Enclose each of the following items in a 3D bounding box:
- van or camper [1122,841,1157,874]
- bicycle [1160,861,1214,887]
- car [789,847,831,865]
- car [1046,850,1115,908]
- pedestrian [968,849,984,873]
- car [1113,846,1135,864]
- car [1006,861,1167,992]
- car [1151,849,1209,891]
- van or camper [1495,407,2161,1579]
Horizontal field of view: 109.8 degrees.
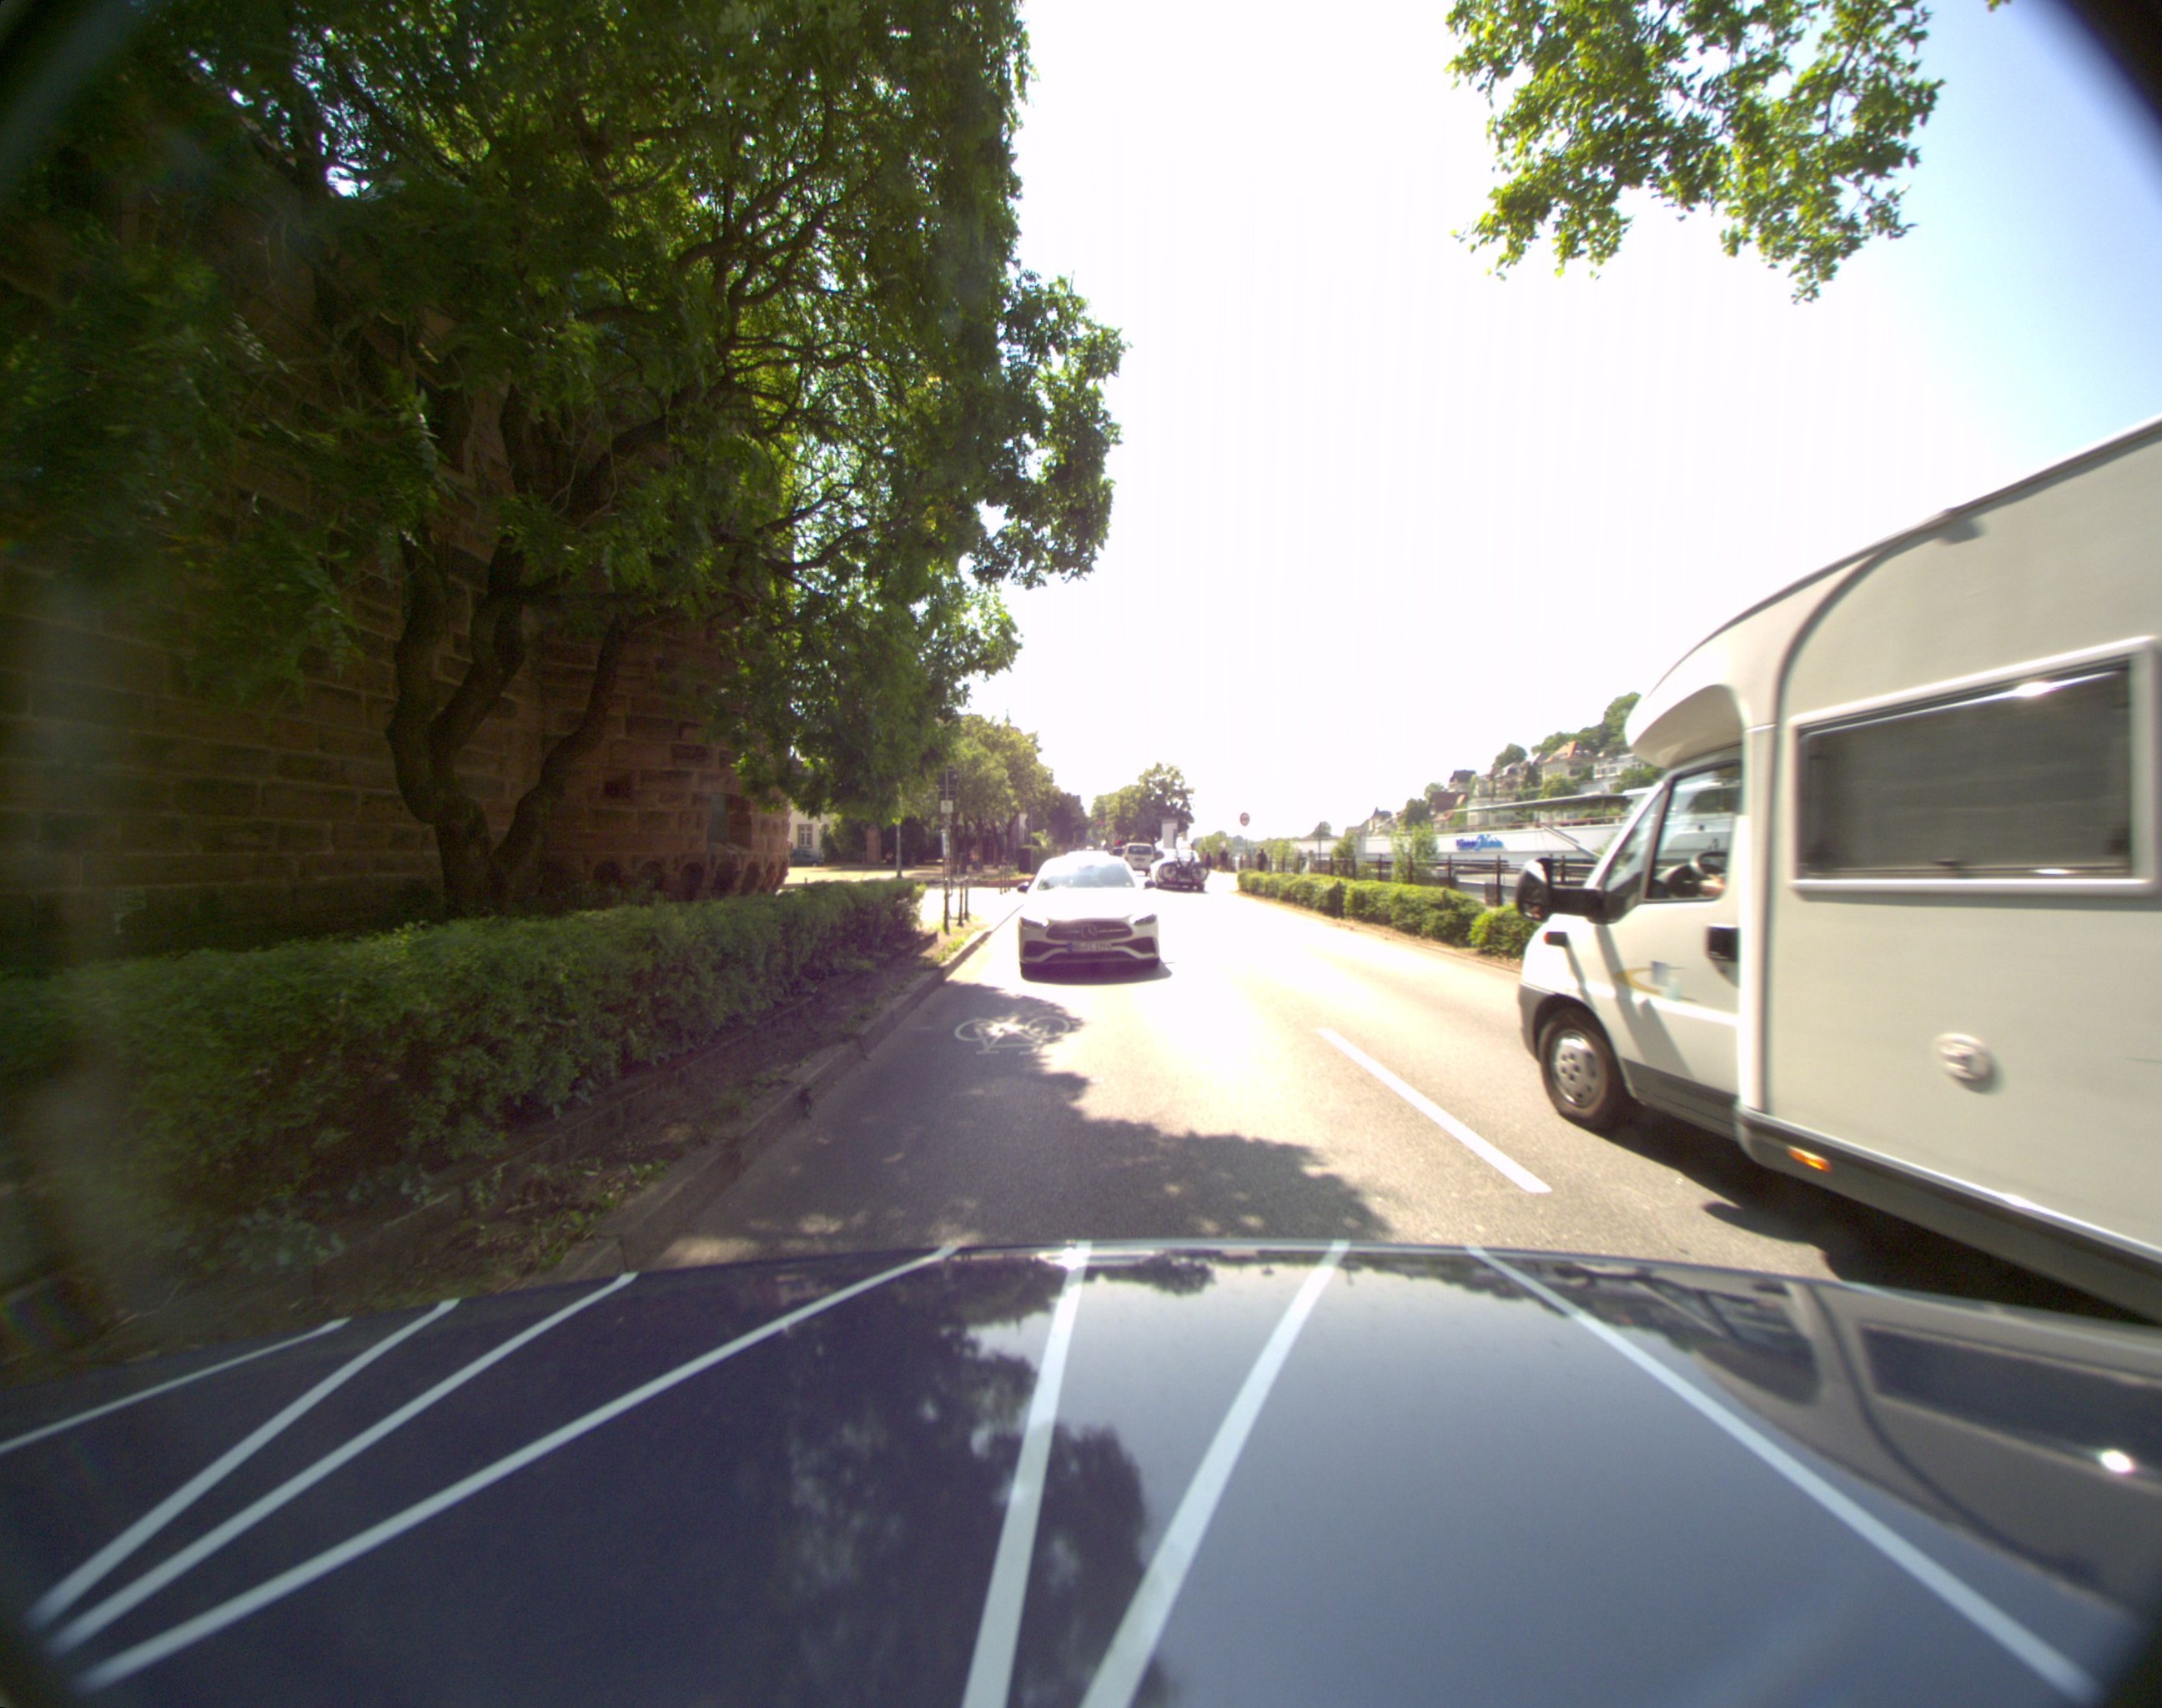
[{"bbox_3d":[3.645,0.180,47.952,1.923,1.976,4.000,1,1,1],"label":"van or camper"},{"bbox_3d":[3.956,0.742,28.467,1.873,0.921,0.955,1,1,1],"label":"bicycle"},{"bbox_3d":[-24.538,0.204,68.889,3.237,1.572,1.752,1,1,-2],"label":"car"},{"bbox_3d":[0.000,0.675,22.630,1.854,1.543,3.848,1,1,0],"label":"car"},{"bbox_3d":[-5.344,0.335,38.602,0.632,1.186,0.747,-2,1,2],"label":"pedestrian"},{"bbox_3d":[3.889,0.073,69.397,1.826,1.604,3.959,1,1,0],"label":"car"},{"bbox_3d":[0.064,0.863,10.990,1.829,1.418,4.358,-1,0,0],"label":"car"},{"bbox_3d":[3.942,0.594,30.910,1.826,1.603,3.959,1,1,0],"label":"car"},{"bbox_3d":[3.614,0.334,1.254,2.328,2.647,6.263,2,1,0],"label":"van or camper"}]
